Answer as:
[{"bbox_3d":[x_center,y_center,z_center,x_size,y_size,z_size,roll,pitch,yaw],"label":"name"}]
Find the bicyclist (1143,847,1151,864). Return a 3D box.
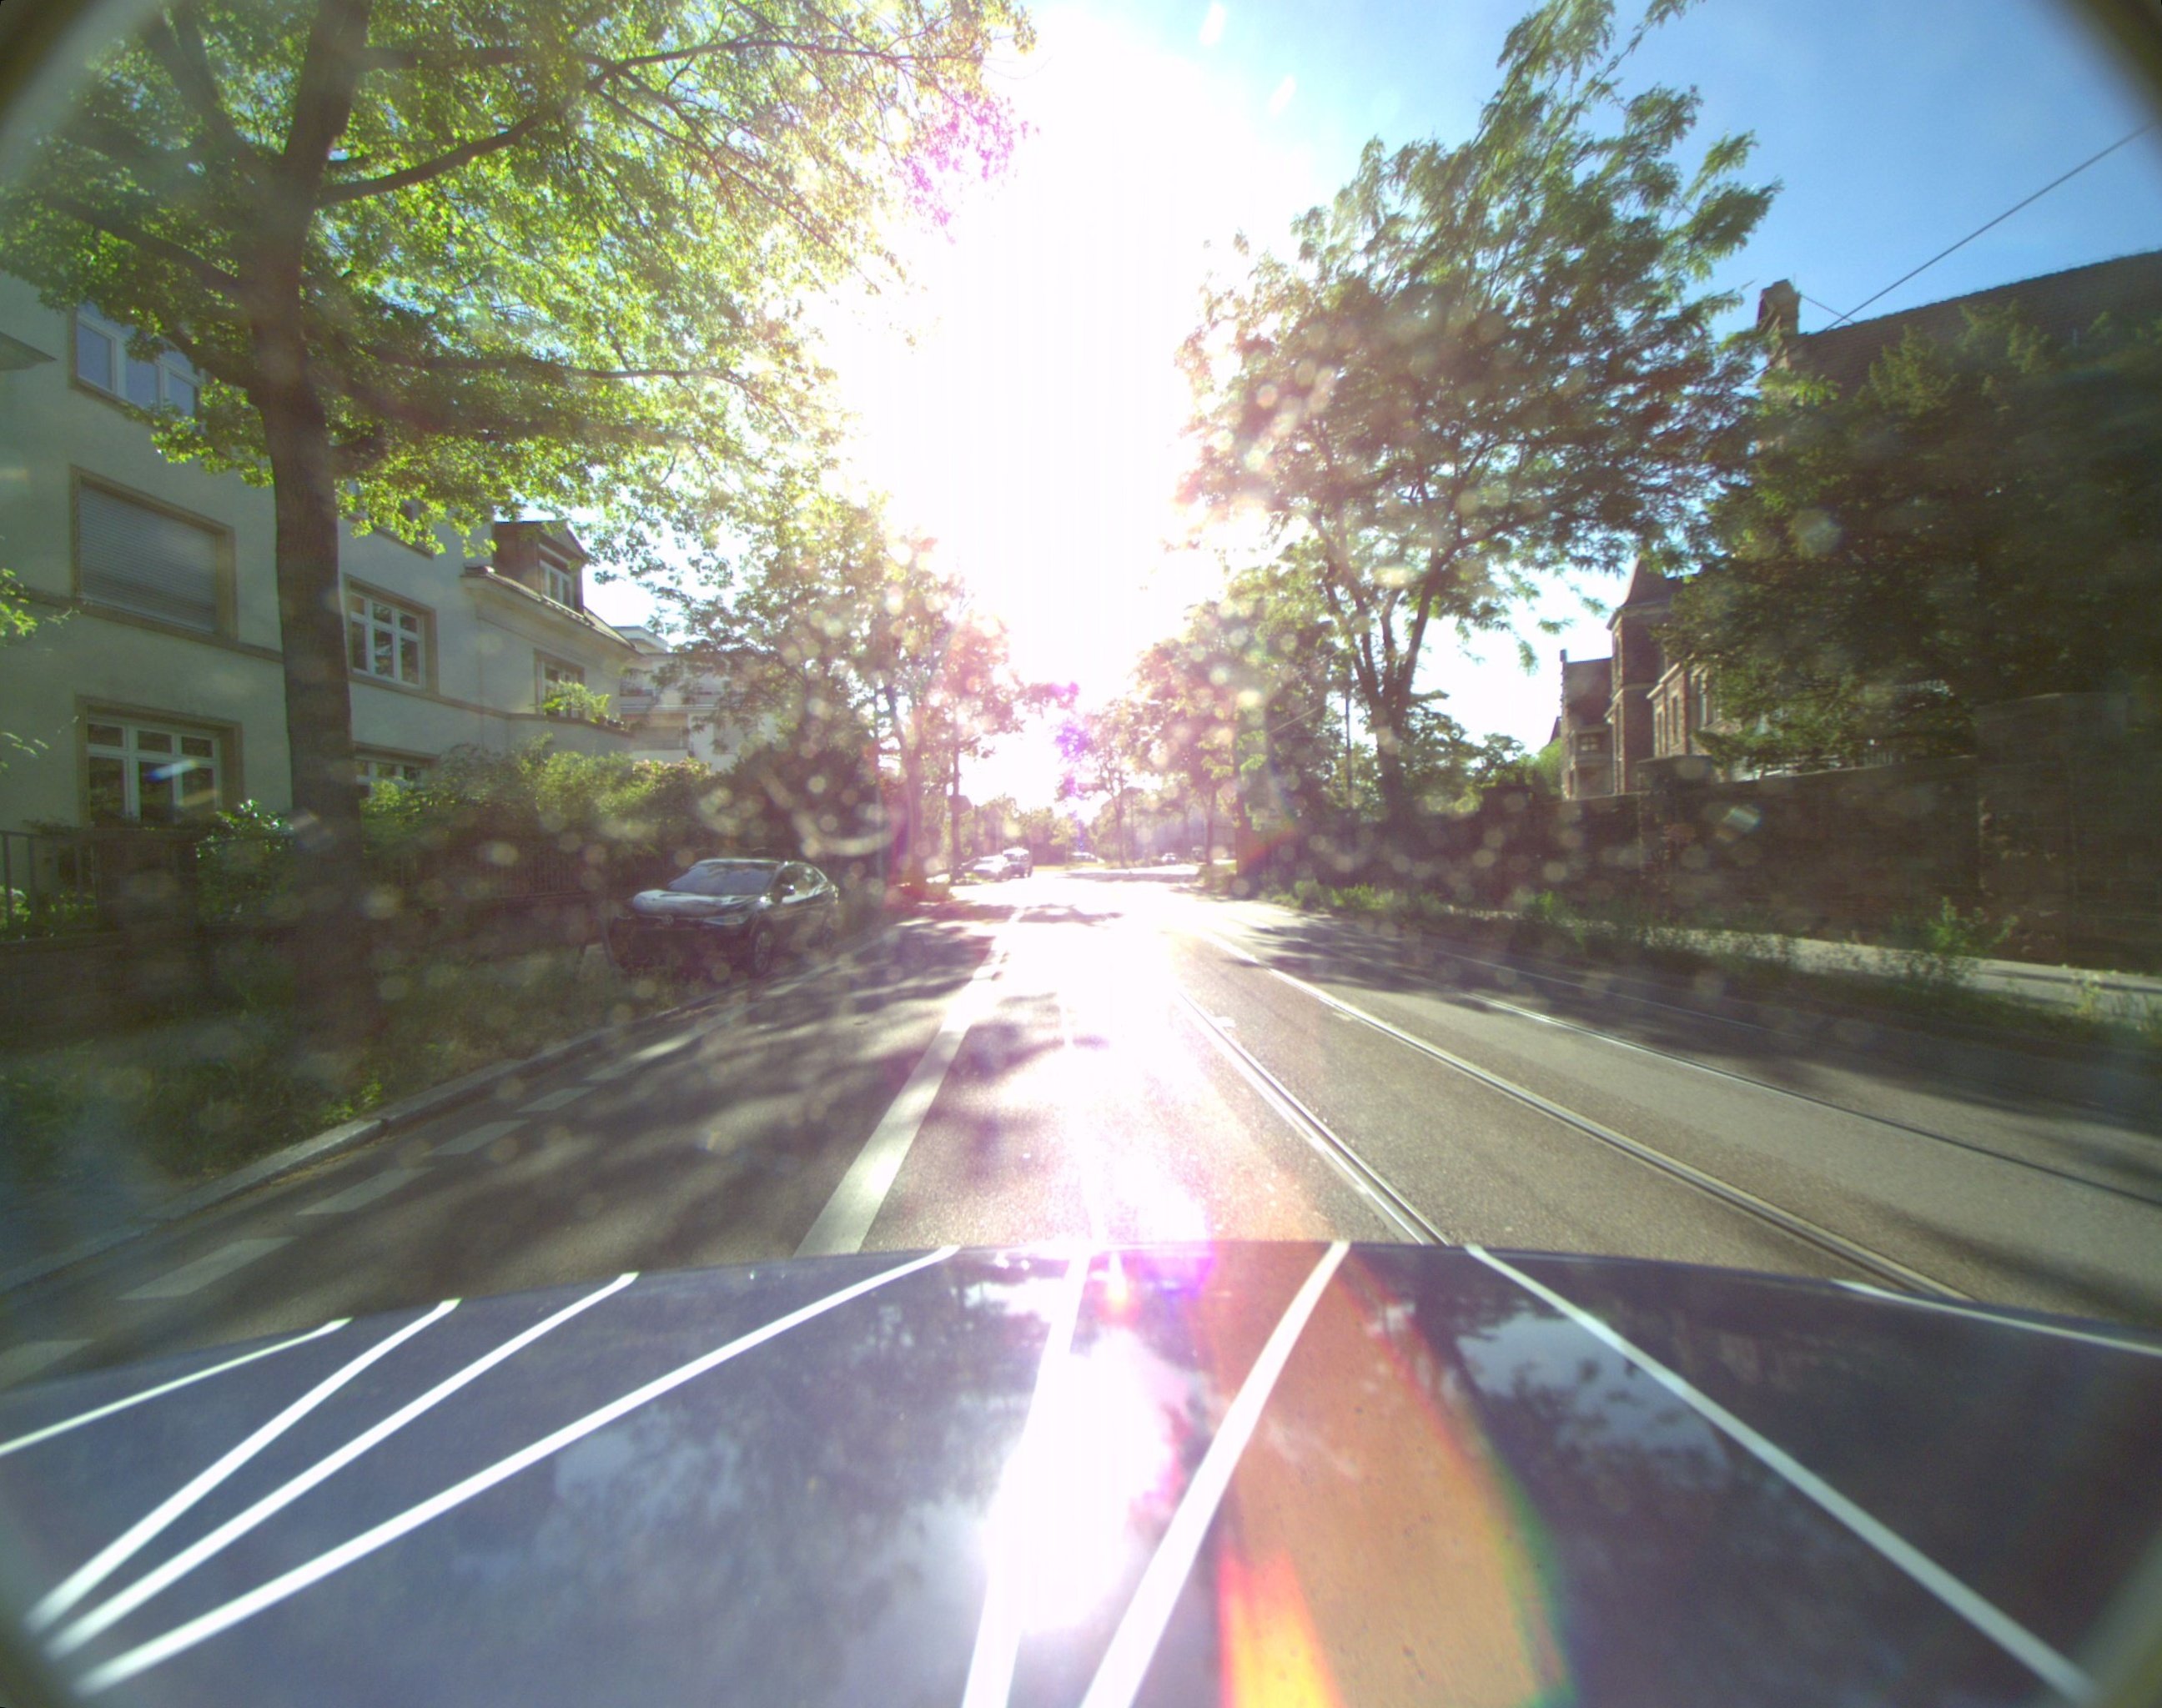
[{"bbox_3d":[6.462,0.107,74.289,0.643,1.632,0.666,-2,1,19],"label":"bicyclist"}]

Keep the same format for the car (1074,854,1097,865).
[{"bbox_3d":[0.737,0.931,128.786,3.908,1.683,1.905,-1,0,-1],"label":"car"}]

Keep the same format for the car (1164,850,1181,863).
[{"bbox_3d":[11.903,0.329,98.719,1.997,1.539,4.002,-2,0,8],"label":"car"}]

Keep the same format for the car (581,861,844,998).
[{"bbox_3d":[-5.203,0.952,11.504,1.919,1.590,4.258,2,0,-1],"label":"car"}]

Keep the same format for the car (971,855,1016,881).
[{"bbox_3d":[-5.172,0.801,45.330,1.901,1.402,4.260,-1,0,4],"label":"car"}]

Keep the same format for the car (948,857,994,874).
[{"bbox_3d":[-10.052,1.053,69.535,3.998,1.433,1.813,-2,0,-3],"label":"car"}]

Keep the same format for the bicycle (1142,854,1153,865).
[{"bbox_3d":[6.478,0.535,74.273,0.588,1.105,1.857,-1,0,19],"label":"bicycle"}]

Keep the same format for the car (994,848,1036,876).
[{"bbox_3d":[-4.411,0.513,51.686,1.900,1.775,4.670,-1,0,6],"label":"car"}]
